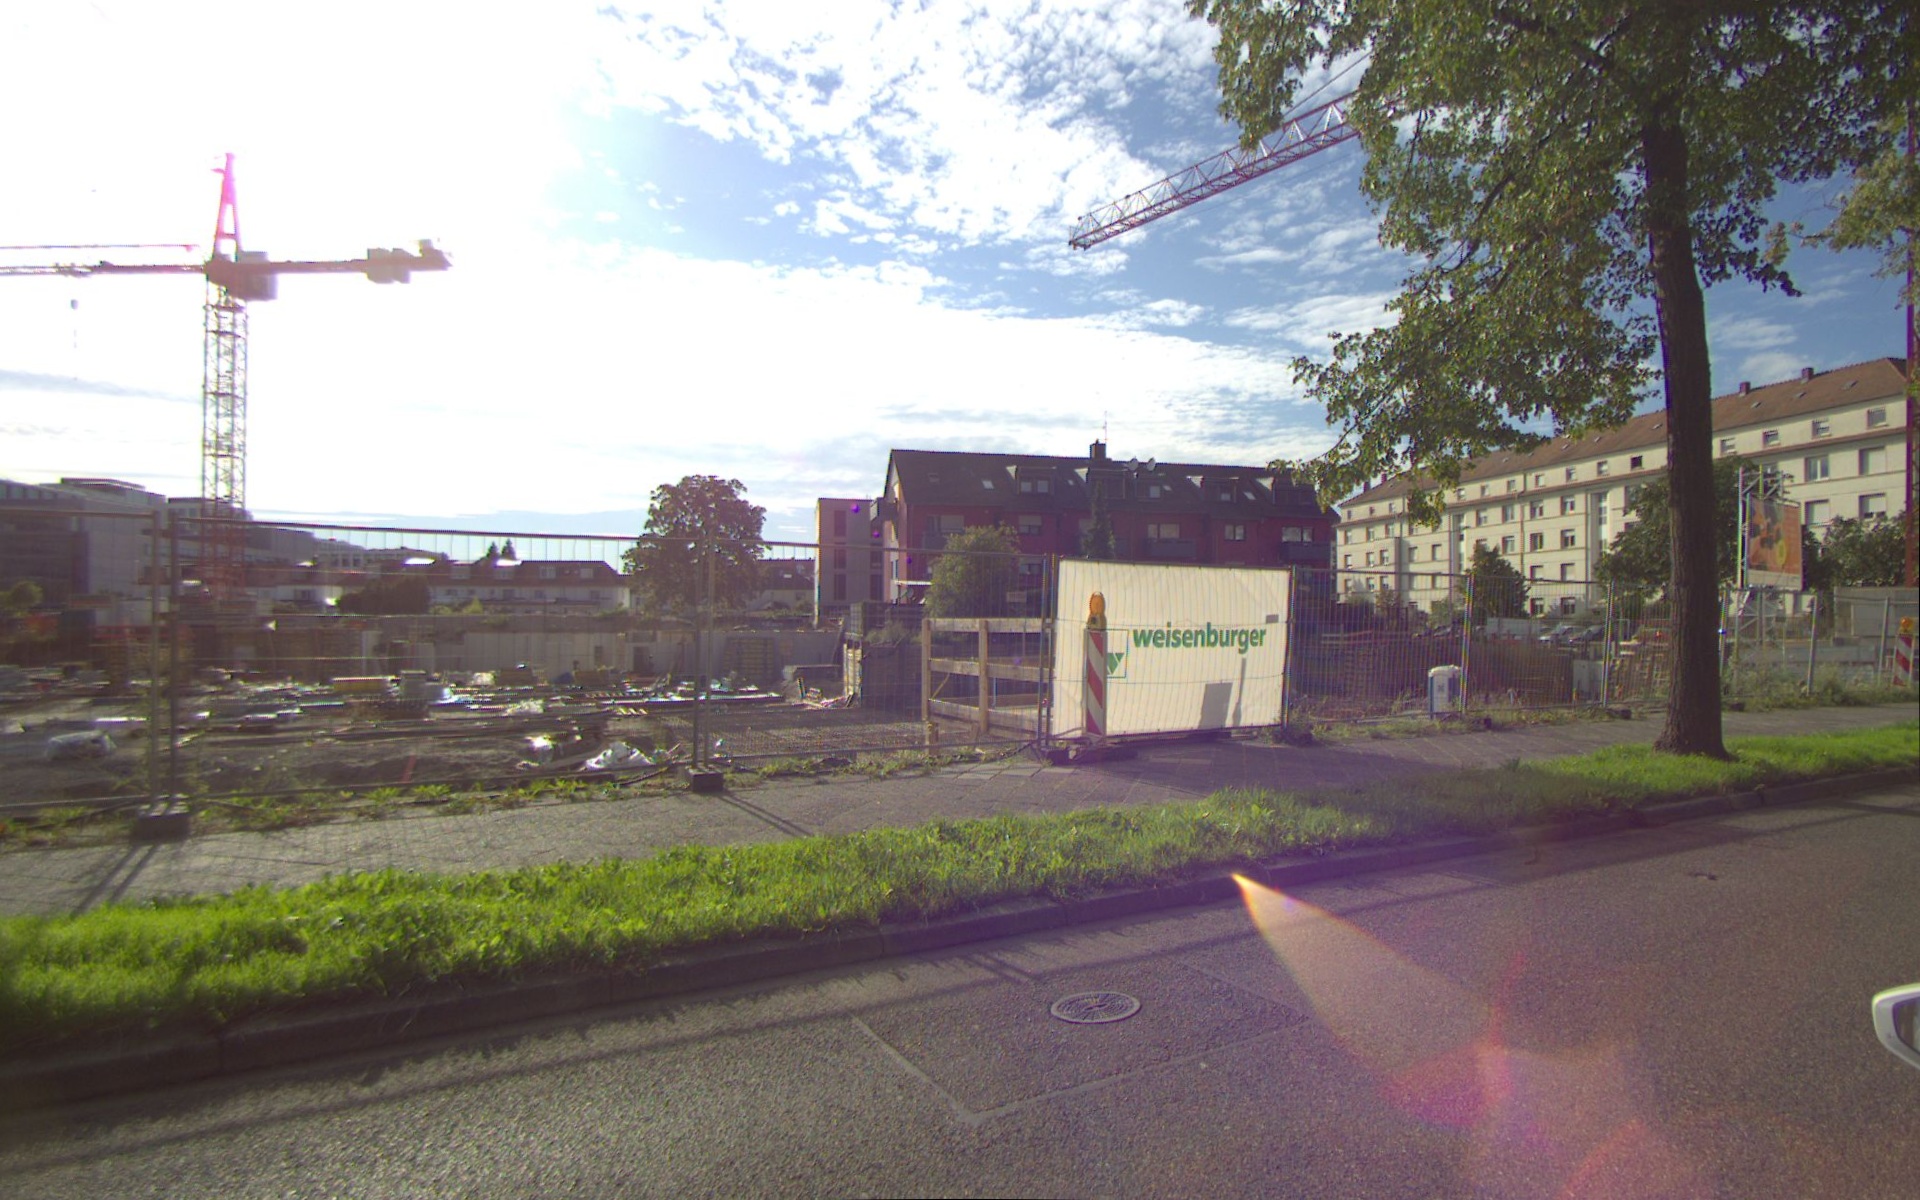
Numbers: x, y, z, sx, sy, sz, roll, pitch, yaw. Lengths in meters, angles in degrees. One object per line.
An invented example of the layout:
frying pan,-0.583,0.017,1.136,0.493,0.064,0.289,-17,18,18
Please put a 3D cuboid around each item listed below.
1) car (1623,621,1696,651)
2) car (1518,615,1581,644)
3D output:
car,47.665,2.442,68.488,3.933,2.040,1.994,0,-2,-15
car,44.454,2.229,75.712,3.936,2.040,1.992,1,-1,-18
